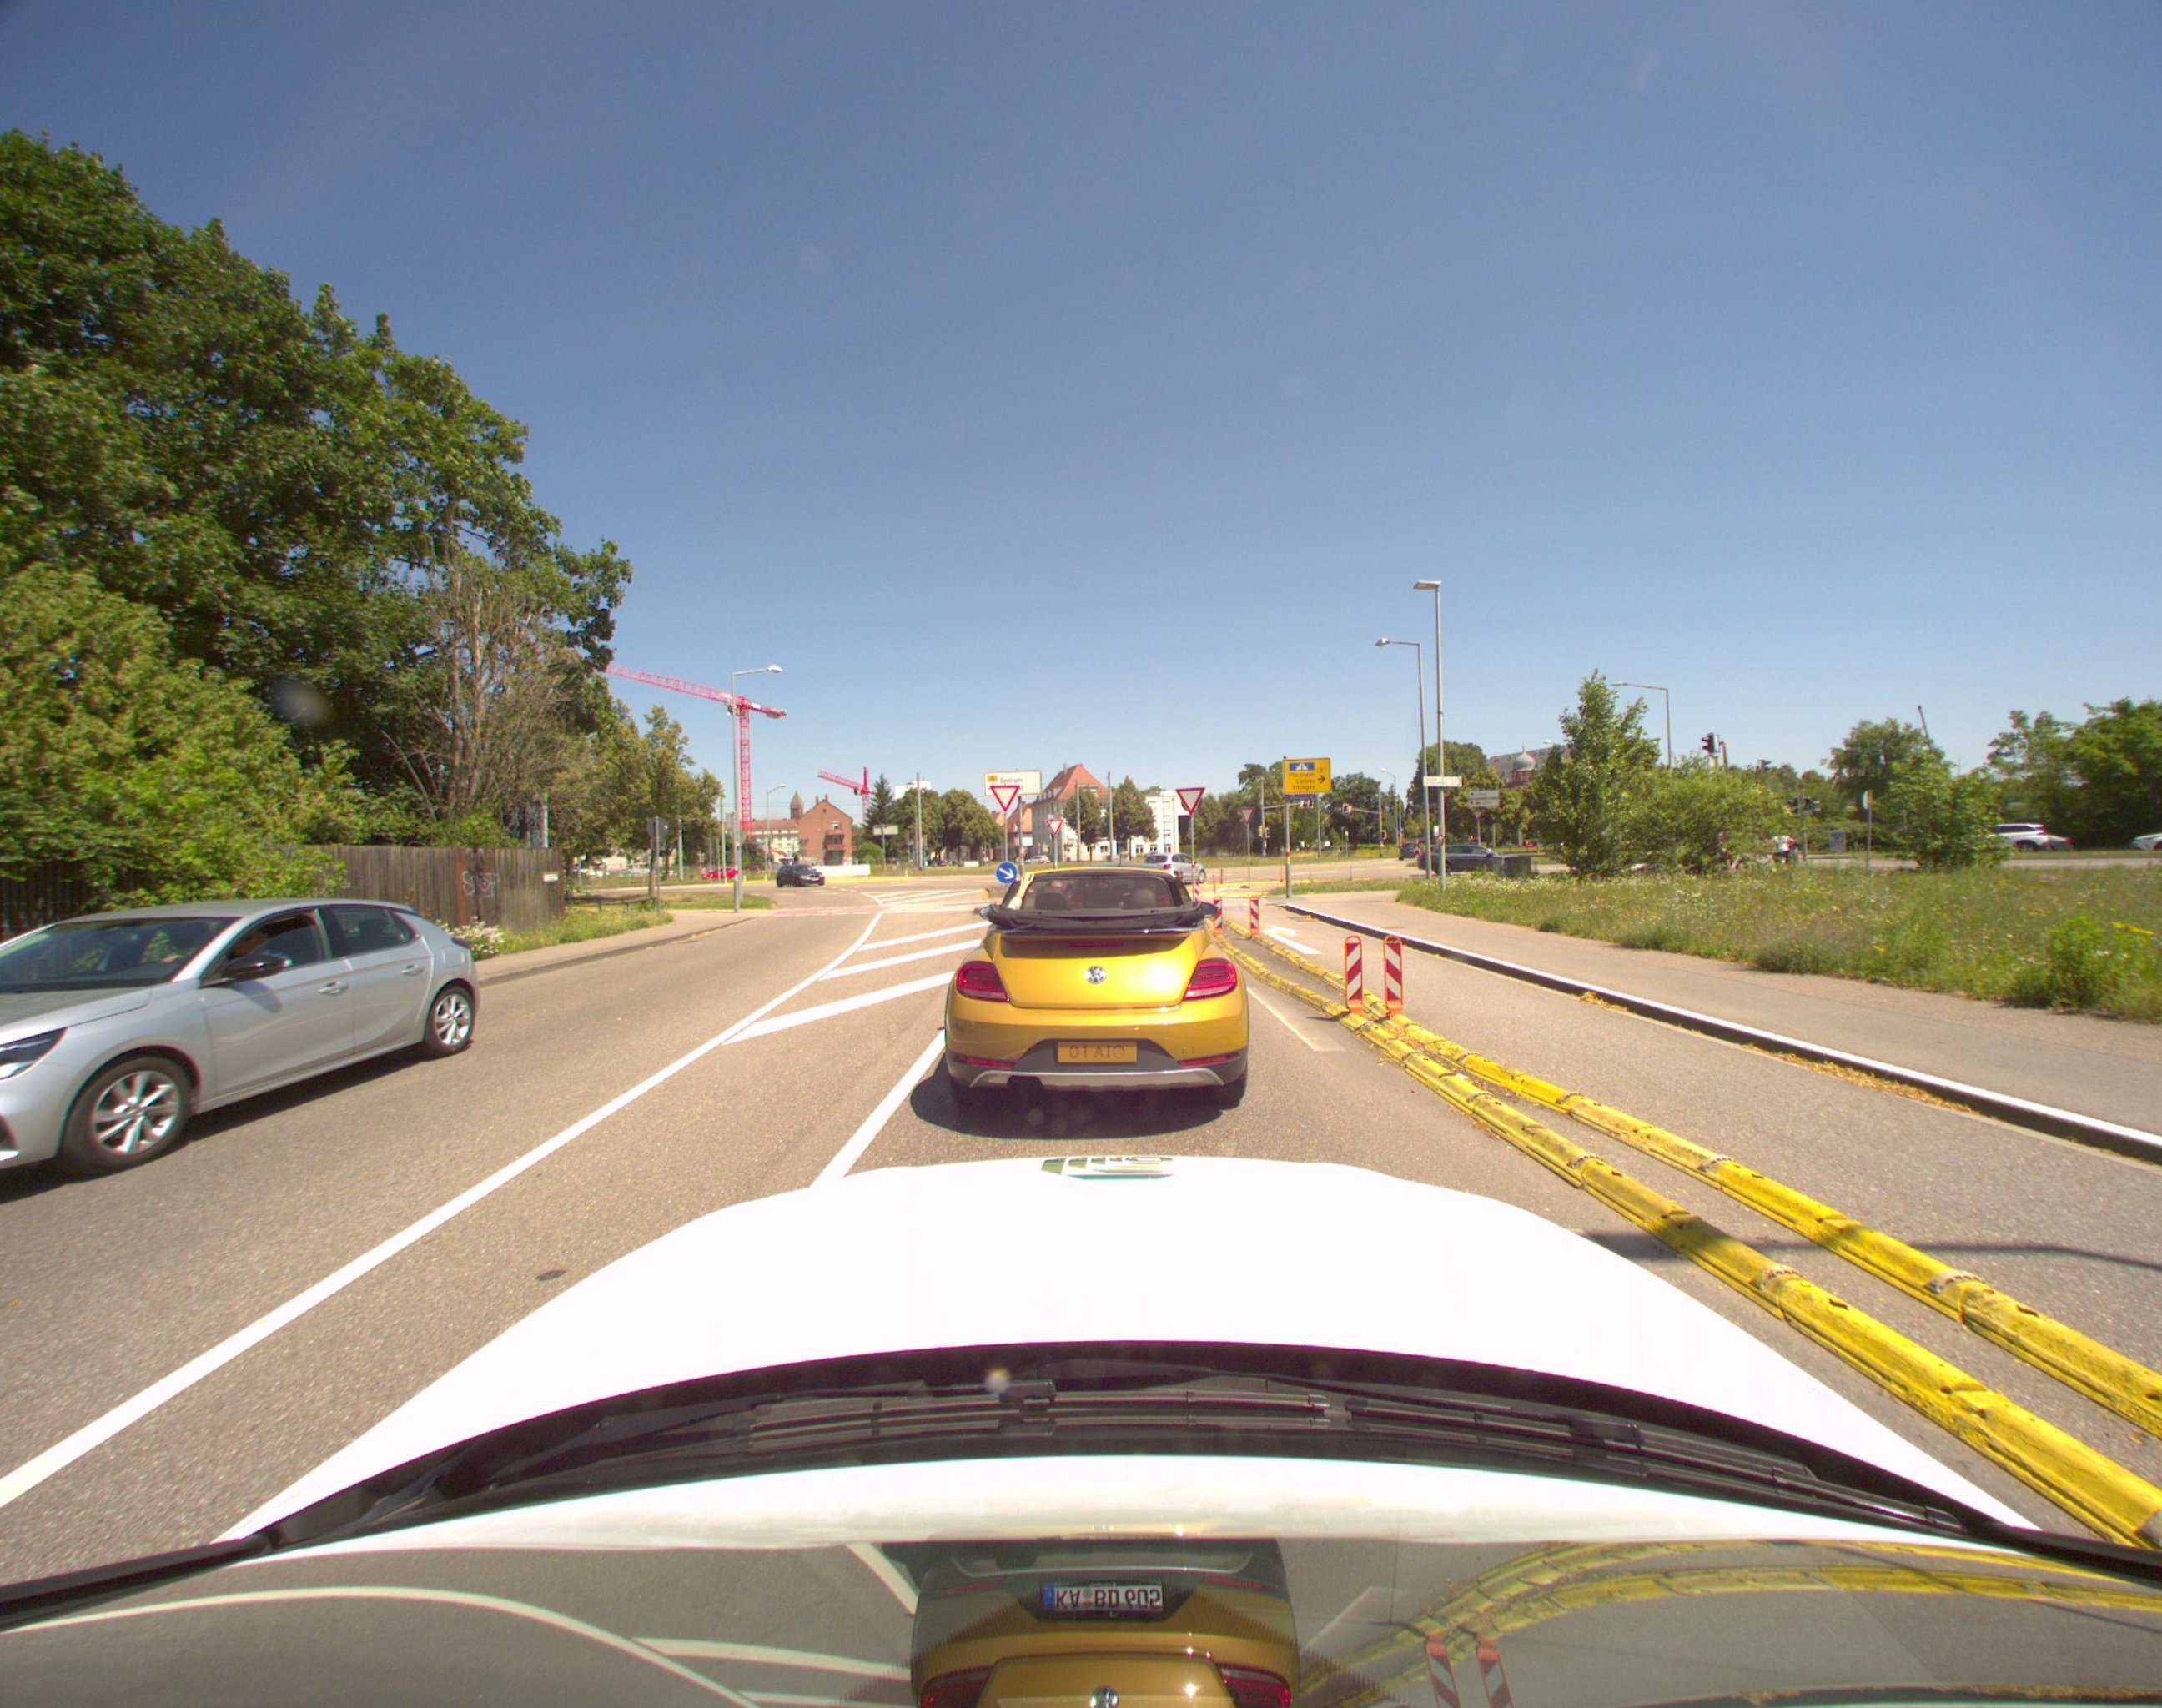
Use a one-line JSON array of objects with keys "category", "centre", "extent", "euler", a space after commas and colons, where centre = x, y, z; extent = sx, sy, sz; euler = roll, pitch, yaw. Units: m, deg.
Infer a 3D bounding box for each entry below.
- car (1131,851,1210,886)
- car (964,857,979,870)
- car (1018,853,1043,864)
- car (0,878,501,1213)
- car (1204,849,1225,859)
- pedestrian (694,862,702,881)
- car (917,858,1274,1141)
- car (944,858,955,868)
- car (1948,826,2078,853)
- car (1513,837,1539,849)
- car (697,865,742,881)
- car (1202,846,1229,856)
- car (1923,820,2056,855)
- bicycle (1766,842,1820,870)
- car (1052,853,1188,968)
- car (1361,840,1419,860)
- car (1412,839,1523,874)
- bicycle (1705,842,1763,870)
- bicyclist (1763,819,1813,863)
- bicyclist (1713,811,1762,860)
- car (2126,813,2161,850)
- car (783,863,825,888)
[{"category": "car", "centre": [4.082, 0.630, 36.573], "extent": [1.759, 1.422, 4.026], "euler": [-2, 0, 34]}, {"category": "car", "centre": [-17.061, 1.428, 126.735], "extent": [1.994, 2.014, 3.985], "euler": [0, -1, -11]}, {"category": "car", "centre": [-8.114, 0.728, 130.829], "extent": [3.977, 1.618, 1.998], "euler": [0, -1, -2]}, {"category": "car", "centre": [-6.091, 1.003, 5.496], "extent": [1.711, 1.464, 3.837], "euler": [-3, 0, -4]}, {"category": "car", "centre": [27.601, -0.052, 168.194], "extent": [3.956, 2.014, 2.009], "euler": [-1, -1, 16]}, {"category": "pedestrian", "centre": [-41.473, 1.863, 88.239], "extent": [0.599, 2.014, 0.595], "euler": [0, -1, 1]}, {"category": "car", "centre": [0.132, 0.761, 6.031], "extent": [1.819, 1.403, 3.663], "euler": [-1, 0, 2]}, {"category": "car", "centre": [-27.030, 1.829, 167.343], "extent": [1.994, 2.014, 3.985], "euler": [0, -1, -11]}, {"category": "car", "centre": [48.995, -0.739, 42.970], "extent": [4.352, 1.270, 1.876], "euler": [-2, 0, 44]}, {"category": "car", "centre": [83.222, -2.019, 152.306], "extent": [3.949, 2.014, 2.012], "euler": [-1, -1, 41]}, {"category": "car", "centre": [-37.961, 1.982, 85.452], "extent": [4.094, 1.403, 1.736], "euler": [-3, 1, -31]}, {"category": "car", "centre": [21.689, -0.466, 131.457], "extent": [3.988, 1.684, 1.993], "euler": [0, -1, -11]}, {"category": "car", "centre": [45.954, -0.829, 41.351], "extent": [4.352, 1.618, 1.876], "euler": [-2, 0, 44]}, {"category": "bicycle", "centre": [25.951, 0.059, 29.686], "extent": [1.766, 0.900, 0.891], "euler": [-3, 2, -27]}, {"category": "car", "centre": [0.558, 0.755, 12.933], "extent": [1.791, 1.440, 4.001], "euler": [-2, 1, 1]}, {"category": "car", "centre": [24.447, -0.295, 64.527], "extent": [2.006, 1.464, 3.962], "euler": [0, -1, -30]}, {"category": "car", "centre": [17.700, 0.121, 37.545], "extent": [4.404, 1.418, 2.010], "euler": [-2, 0, 19]}, {"category": "bicycle", "centre": [22.126, 0.060, 27.586], "extent": [2.234, 0.900, 0.889], "euler": [-1, 1, -33]}, {"category": "bicyclist", "centre": [25.796, -0.479, 29.715], "extent": [1.189, 1.531, 0.951], "euler": [-3, 1, -28]}, {"category": "bicyclist", "centre": [22.240, -0.610, 27.595], "extent": [1.190, 1.610, 0.950], "euler": [-1, -1, -33]}, {"category": "car", "centre": [51.190, -1.089, 36.956], "extent": [4.352, 1.683, 1.876], "euler": [-2, 0, 44]}, {"category": "car", "centre": [-17.435, 1.311, 51.151], "extent": [1.758, 1.403, 4.042], "euler": [-3, 1, -30]}]
